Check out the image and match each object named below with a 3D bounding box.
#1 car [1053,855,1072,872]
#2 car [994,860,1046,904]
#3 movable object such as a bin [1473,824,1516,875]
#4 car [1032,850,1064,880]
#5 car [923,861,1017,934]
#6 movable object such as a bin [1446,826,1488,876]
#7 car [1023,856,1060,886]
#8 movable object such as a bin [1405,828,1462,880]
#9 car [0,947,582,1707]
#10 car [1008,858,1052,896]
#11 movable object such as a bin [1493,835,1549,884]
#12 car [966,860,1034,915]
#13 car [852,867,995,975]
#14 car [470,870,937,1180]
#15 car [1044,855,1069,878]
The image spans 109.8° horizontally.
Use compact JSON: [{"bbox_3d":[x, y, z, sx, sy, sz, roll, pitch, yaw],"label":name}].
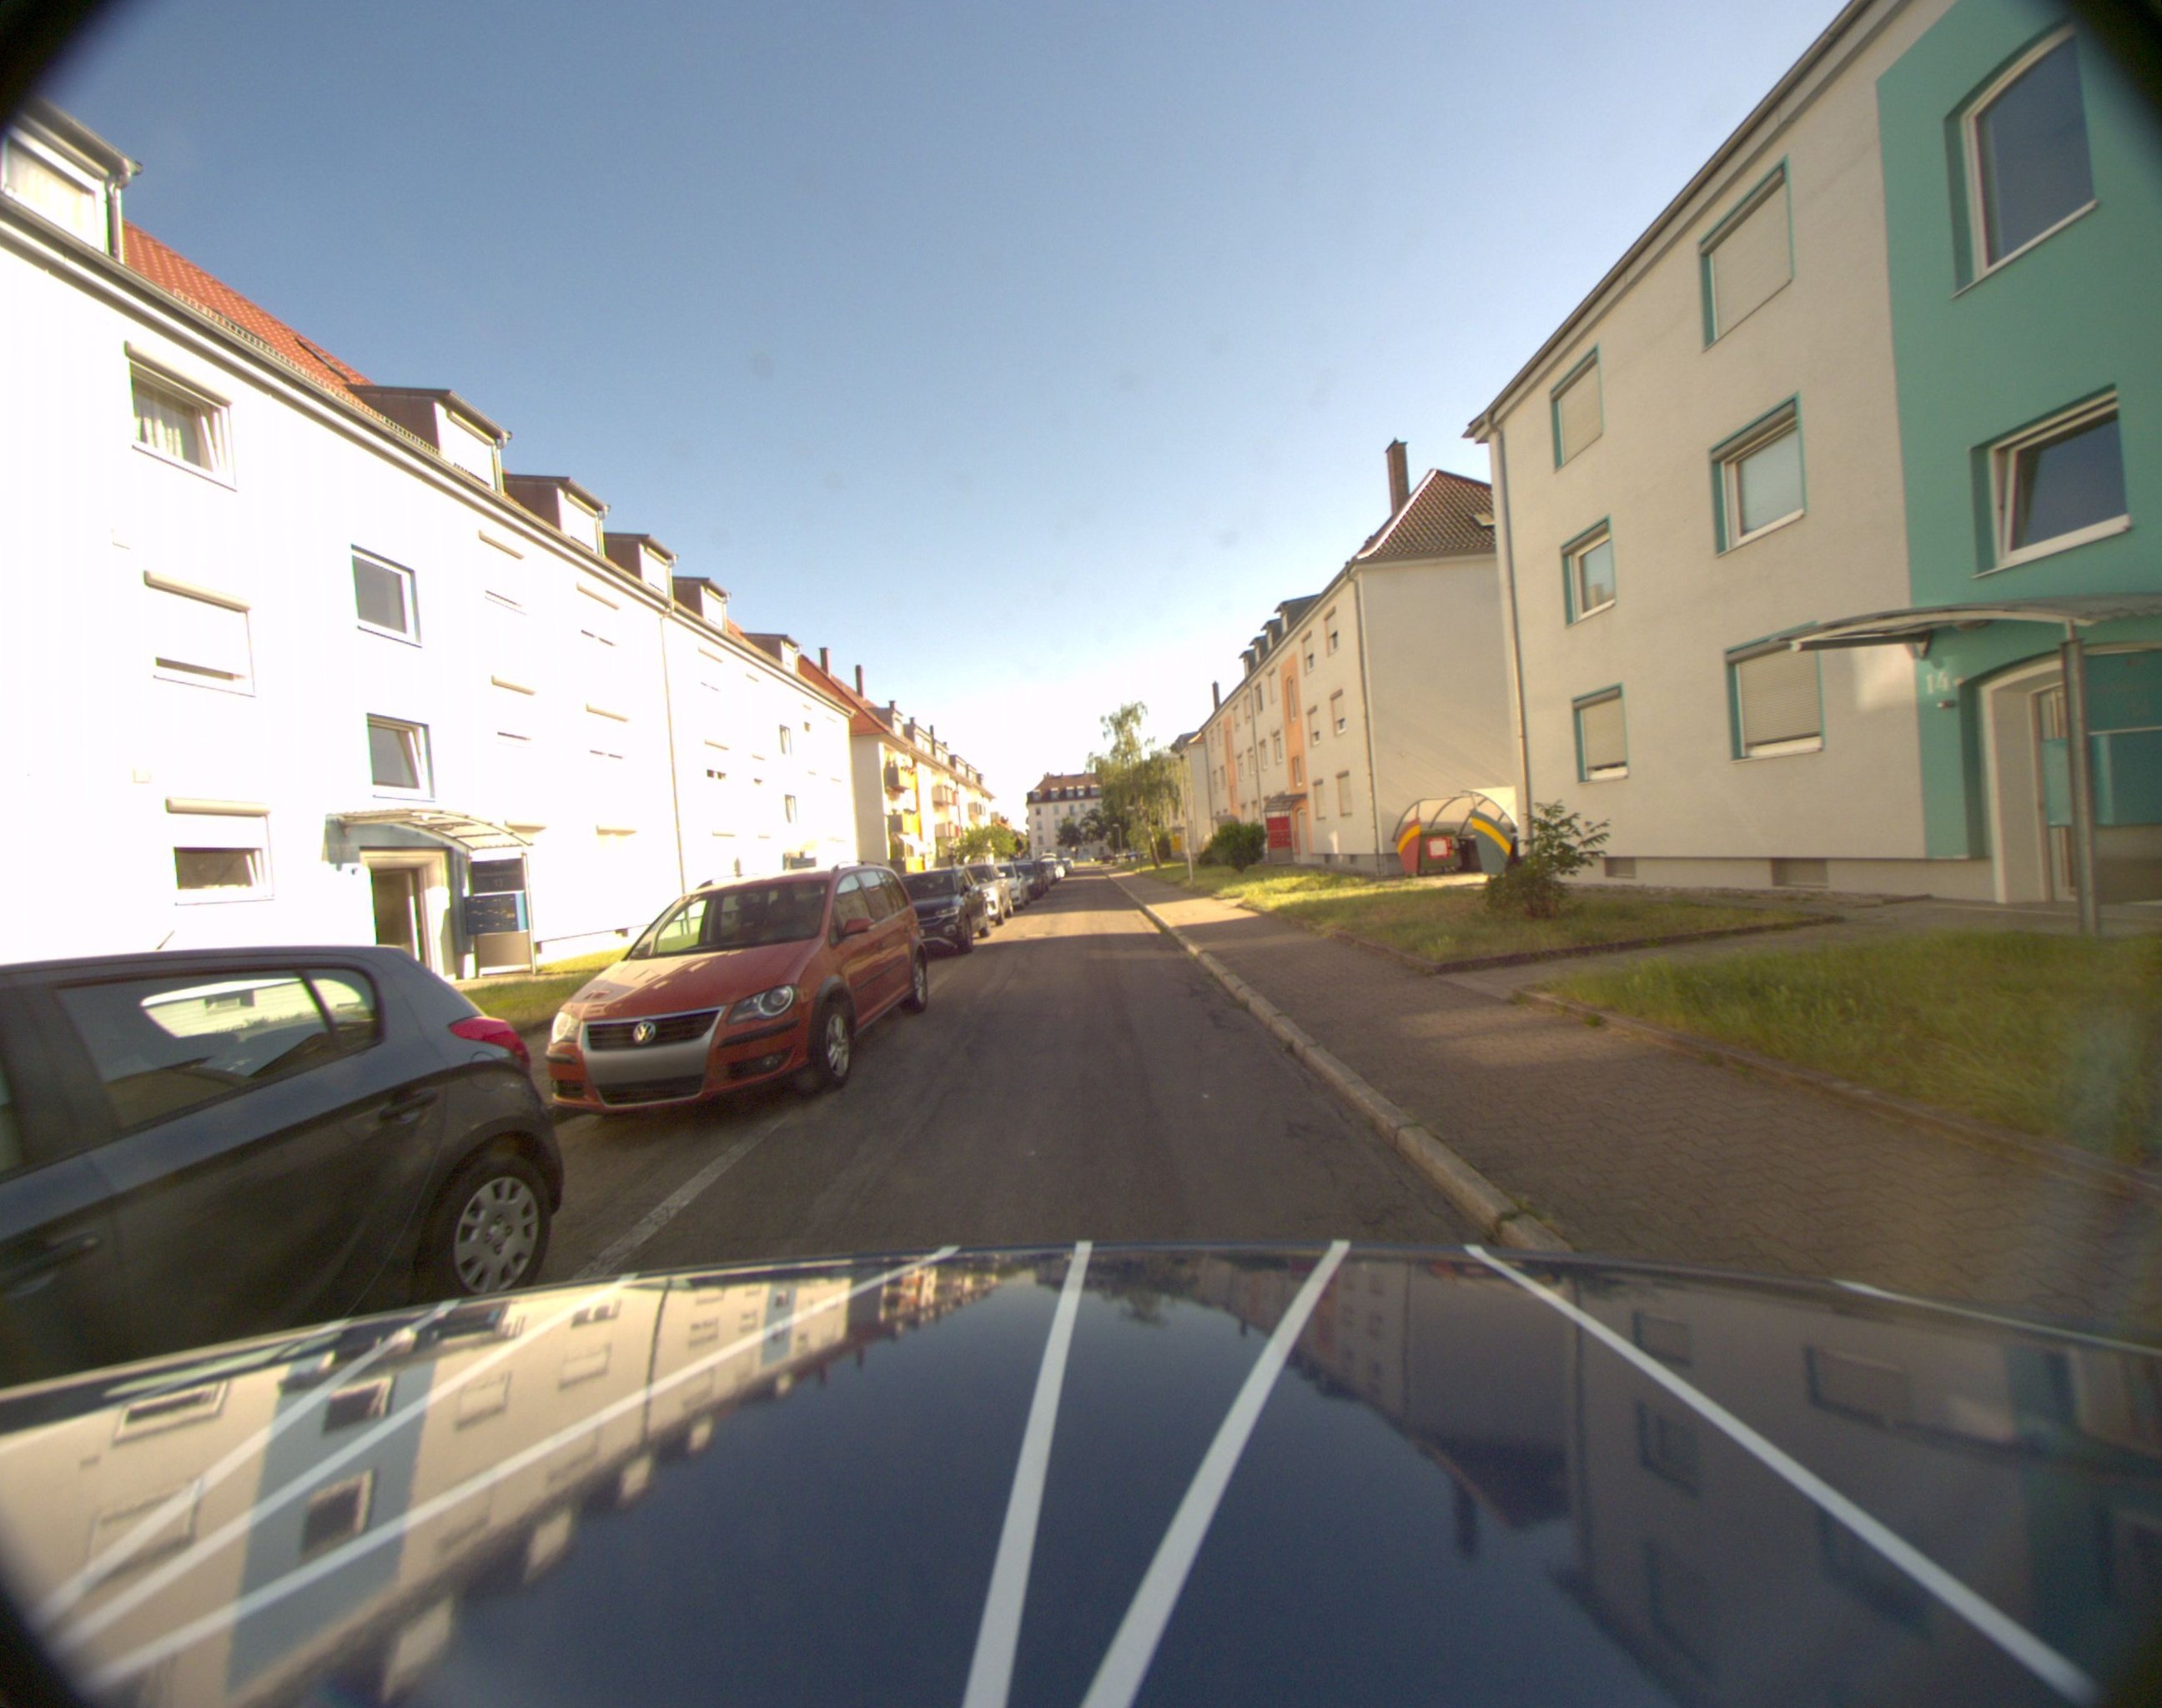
[{"bbox_3d":[-1.925,0.981,80.166,1.708,1.562,3.925,-4,1,1],"label":"car"},{"bbox_3d":[-2.461,1.088,31.472,1.709,1.562,4.041,-4,0,1],"label":"car"},{"bbox_3d":[11.970,-0.127,22.004,0.753,1.385,0.763,-4,1,1],"label":"movable object such as a bin"},{"bbox_3d":[-2.368,0.769,55.886,1.953,1.890,4.763,-4,1,1],"label":"car"},{"bbox_3d":[-2.753,1.036,19.663,1.709,1.562,3.876,-4,0,1],"label":"car"},{"bbox_3d":[11.170,-0.076,22.033,0.753,1.385,0.763,-4,1,1],"label":"movable object such as a bin"},{"bbox_3d":[-2.416,1.006,47.604,1.708,1.562,4.381,-4,1,4],"label":"car"},{"bbox_3d":[10.167,0.003,21.965,1.167,1.385,0.877,-4,1,0],"label":"movable object such as a bin"},{"bbox_3d":[-2.978,1.198,1.246,1.621,1.440,3.857,-6,0,0],"label":"car"},{"bbox_3d":[-2.402,1.069,36.880,1.709,1.562,4.041,-4,0,1],"label":"car"},{"bbox_3d":[9.853,0.119,17.034,0.753,1.006,0.763,-4,0,1],"label":"movable object such as a bin"},{"bbox_3d":[-2.635,1.062,25.611,1.709,1.562,4.041,-4,0,1],"label":"car"},{"bbox_3d":[-2.799,1.130,14.385,1.709,1.516,3.876,-6,0,1],"label":"car"},{"bbox_3d":[-2.621,1.052,6.645,1.731,1.597,4.423,-4,0,1],"label":"car"},{"bbox_3d":[-1.956,1.006,62.640,1.708,1.562,4.734,-4,1,1],"label":"car"}]
